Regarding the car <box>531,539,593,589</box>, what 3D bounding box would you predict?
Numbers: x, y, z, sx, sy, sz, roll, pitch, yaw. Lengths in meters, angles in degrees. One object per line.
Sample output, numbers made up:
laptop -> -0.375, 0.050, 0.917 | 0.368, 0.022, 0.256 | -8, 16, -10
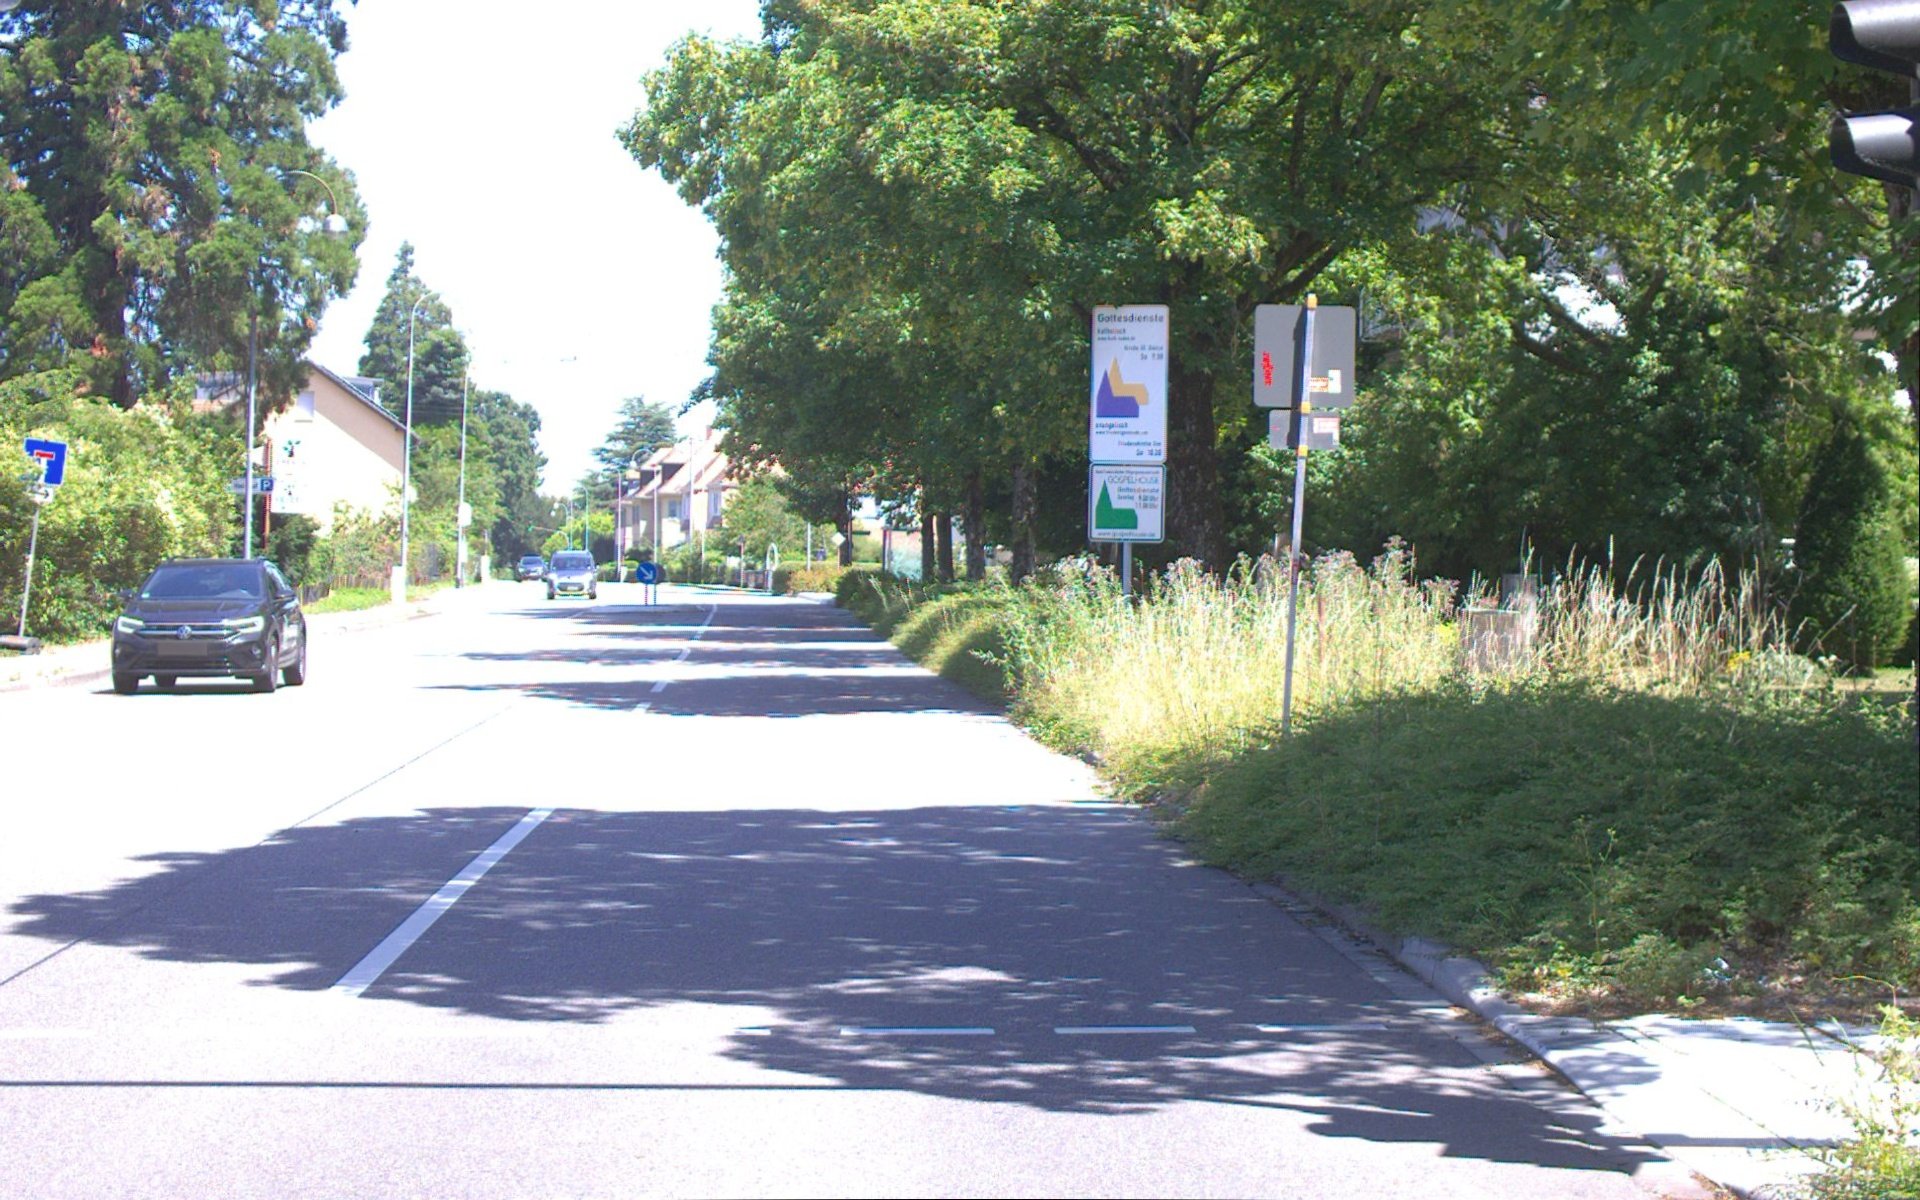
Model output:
car -> -14.617, -1.332, 126.386 | 1.811, 1.756, 4.570 | 2, 1, -1

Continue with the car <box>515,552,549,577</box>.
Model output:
car -> -26.247, -2.184, 210.920 | 1.822, 1.546, 4.001 | 0, 1, -4

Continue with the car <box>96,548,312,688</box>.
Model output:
car -> -8.518, 0.167, 39.040 | 1.869, 1.501, 4.053 | 0, 1, -5
